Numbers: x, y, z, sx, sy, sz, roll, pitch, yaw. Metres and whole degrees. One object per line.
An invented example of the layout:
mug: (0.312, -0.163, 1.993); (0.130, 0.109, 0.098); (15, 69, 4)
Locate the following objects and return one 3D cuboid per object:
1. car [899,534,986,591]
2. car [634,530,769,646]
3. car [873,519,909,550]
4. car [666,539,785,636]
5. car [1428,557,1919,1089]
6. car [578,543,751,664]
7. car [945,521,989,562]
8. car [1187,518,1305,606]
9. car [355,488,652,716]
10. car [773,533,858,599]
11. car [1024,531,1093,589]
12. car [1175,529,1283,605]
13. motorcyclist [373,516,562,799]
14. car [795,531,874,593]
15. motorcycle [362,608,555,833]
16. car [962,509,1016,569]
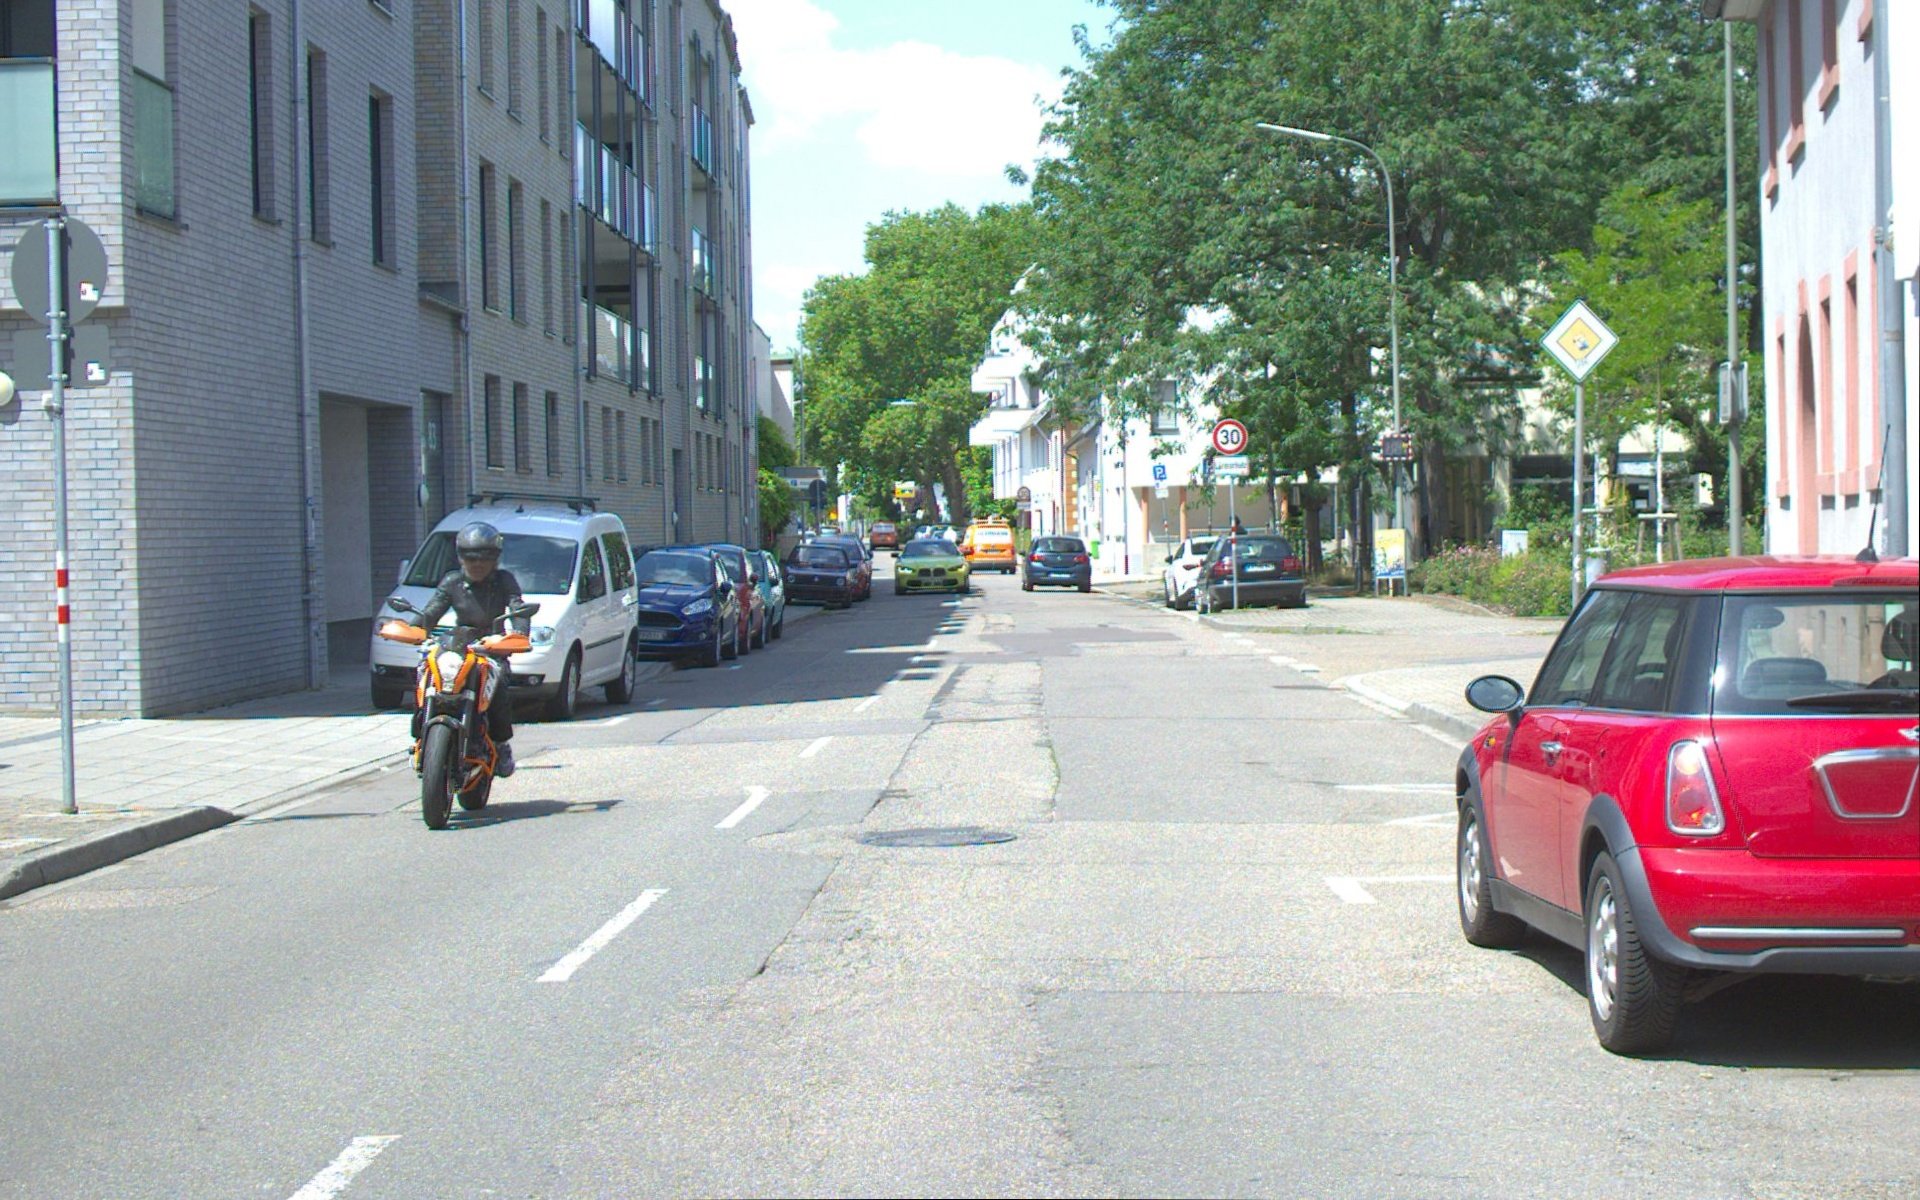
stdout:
car: (-0.424, -0.979, 88.579); (1.994, 1.376, 4.392); (1, 1, 3)
car: (-3.614, -0.202, 48.569); (1.591, 1.548, 3.571); (-1, 1, 0)
car: (-4.577, -4.378, 228.958); (2.157, 2.007, 4.000); (-1, 1, 1)
car: (-3.660, -0.225, 54.150); (1.591, 1.451, 3.704); (0, 1, 0)
car: (2.595, 0.584, 11.111); (1.618, 1.381, 3.539); (-1, 1, -1)
car: (-3.726, 0.006, 43.876); (1.723, 1.451, 4.005); (0, 1, 2)
car: (0.259, -2.450, 142.607); (1.711, 1.628, 3.704); (-1, 1, -1)
car: (5.083, -0.704, 61.509); (1.692, 1.415, 4.000); (-4, 1, 0)
car: (-4.051, -0.043, 31.203); (1.757, 1.885, 4.336); (1, 2, 5)
car: (-3.293, -0.801, 78.780); (1.732, 1.437, 4.000); (-1, 1, 0)
car: (2.548, -1.056, 89.582); (1.715, 1.397, 4.000); (-1, 2, 1)
car: (5.282, -0.676, 67.931); (1.779, 1.415, 4.000); (-1, 1, 0)
motorcyclist: (-2.712, 0.299, 19.041); (0.822, 1.504, 1.057); (-2, 1, 2)
car: (-3.041, -0.952, 84.014); (1.732, 1.437, 4.000); (-1, 1, 0)
motorcycle: (-2.775, 0.642, 19.215); (0.688, 1.118, 2.028); (-2, 1, 2)
car: (1.039, -2.168, 121.620); (1.839, 2.006, 4.000); (-1, 2, 1)
